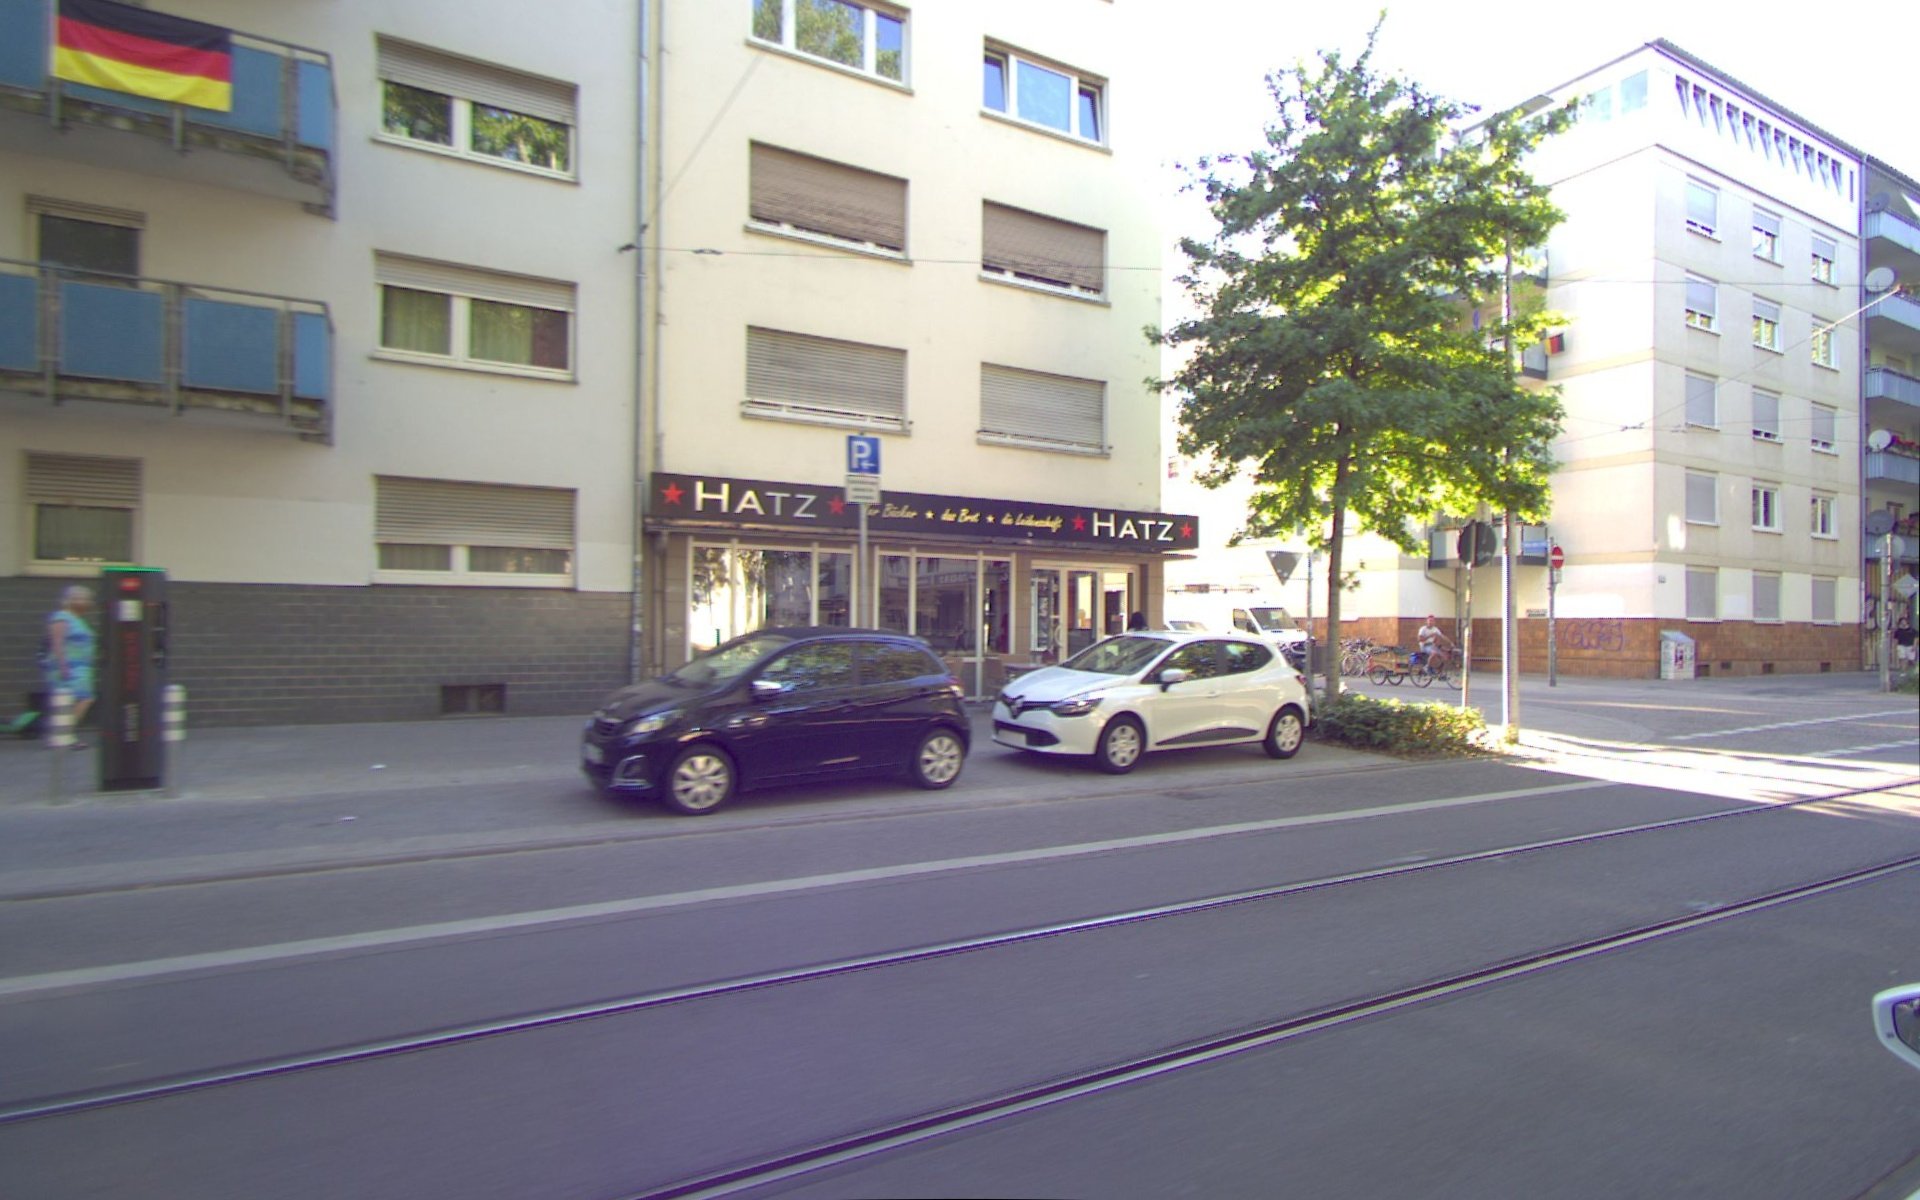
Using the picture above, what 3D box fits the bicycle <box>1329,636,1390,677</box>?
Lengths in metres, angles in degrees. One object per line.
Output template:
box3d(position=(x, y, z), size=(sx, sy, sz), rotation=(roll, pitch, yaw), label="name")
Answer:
box3d(position=(11.790, 1.677, 29.678), size=(0.576, 1.171, 1.744), rotation=(1, -3, -24), label="bicycle")

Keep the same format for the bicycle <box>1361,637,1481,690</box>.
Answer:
box3d(position=(11.378, 1.543, 24.932), size=(0.909, 1.172, 2.786), rotation=(1, -1, -26), label="bicycle")

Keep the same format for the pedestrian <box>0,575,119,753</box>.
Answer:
box3d(position=(-9.092, 0.628, 10.170), size=(0.740, 1.713, 0.660), rotation=(1, -1, -31), label="pedestrian")

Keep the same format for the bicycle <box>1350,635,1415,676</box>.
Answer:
box3d(position=(12.658, 1.670, 30.146), size=(0.579, 1.171, 1.736), rotation=(2, -4, -37), label="bicycle")

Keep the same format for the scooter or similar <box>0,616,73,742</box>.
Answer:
box3d(position=(-10.237, 0.830, 10.594), size=(1.219, 1.306, 0.374), rotation=(1, -3, -22), label="scooter or similar")

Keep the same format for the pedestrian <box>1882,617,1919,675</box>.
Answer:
box3d(position=(30.359, 1.479, 32.403), size=(0.954, 1.850, 0.660), rotation=(1, -1, -31), label="pedestrian")

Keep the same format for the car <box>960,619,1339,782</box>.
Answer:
box3d(position=(2.284, 1.046, 11.666), size=(4.331, 1.483, 1.703), rotation=(2, 1, -34), label="car")

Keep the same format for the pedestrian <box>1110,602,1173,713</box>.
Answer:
box3d(position=(2.905, 0.908, 16.123), size=(0.740, 1.713, 0.660), rotation=(1, -1, -31), label="pedestrian")

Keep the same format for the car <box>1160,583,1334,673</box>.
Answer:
box3d(position=(9.470, 0.943, 33.741), size=(2.145, 2.759, 5.780), rotation=(1, -2, -30), label="car")

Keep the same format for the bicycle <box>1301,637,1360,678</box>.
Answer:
box3d(position=(10.892, 1.689, 29.547), size=(1.571, 1.172, 0.585), rotation=(-1, -3, 17), label="bicycle")

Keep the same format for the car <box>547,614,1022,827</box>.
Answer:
box3d(position=(-1.511, 0.946, 9.283), size=(3.962, 1.483, 1.701), rotation=(2, 1, -37), label="car")

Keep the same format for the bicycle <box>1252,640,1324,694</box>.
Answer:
box3d(position=(7.405, 1.511, 22.766), size=(0.562, 1.171, 1.946), rotation=(0, -3, -15), label="bicycle")

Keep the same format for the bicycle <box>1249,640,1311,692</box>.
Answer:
box3d(position=(7.589, 1.557, 23.893), size=(0.562, 1.171, 1.948), rotation=(0, -3, -9), label="bicycle")

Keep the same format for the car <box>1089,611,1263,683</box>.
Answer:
box3d(position=(5.997, 1.283, 28.450), size=(2.017, 1.846, 4.847), rotation=(1, -2, -33), label="car")

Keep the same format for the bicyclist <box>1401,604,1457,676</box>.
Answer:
box3d(position=(11.508, 0.976, 24.665), size=(0.896, 1.727, 0.869), rotation=(1, -1, -26), label="bicyclist")

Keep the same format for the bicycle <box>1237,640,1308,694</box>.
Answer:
box3d(position=(7.014, 1.499, 22.650), size=(0.562, 1.171, 1.946), rotation=(0, -3, -15), label="bicycle")

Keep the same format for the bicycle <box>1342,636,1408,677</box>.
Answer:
box3d(position=(12.359, 1.682, 29.953), size=(0.579, 1.171, 1.736), rotation=(2, -4, -37), label="bicycle")

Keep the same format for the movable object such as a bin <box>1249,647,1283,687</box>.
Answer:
box3d(position=(7.838, 1.708, 25.728), size=(0.636, 0.986, 0.588), rotation=(1, -2, -40), label="movable object such as a bin")
